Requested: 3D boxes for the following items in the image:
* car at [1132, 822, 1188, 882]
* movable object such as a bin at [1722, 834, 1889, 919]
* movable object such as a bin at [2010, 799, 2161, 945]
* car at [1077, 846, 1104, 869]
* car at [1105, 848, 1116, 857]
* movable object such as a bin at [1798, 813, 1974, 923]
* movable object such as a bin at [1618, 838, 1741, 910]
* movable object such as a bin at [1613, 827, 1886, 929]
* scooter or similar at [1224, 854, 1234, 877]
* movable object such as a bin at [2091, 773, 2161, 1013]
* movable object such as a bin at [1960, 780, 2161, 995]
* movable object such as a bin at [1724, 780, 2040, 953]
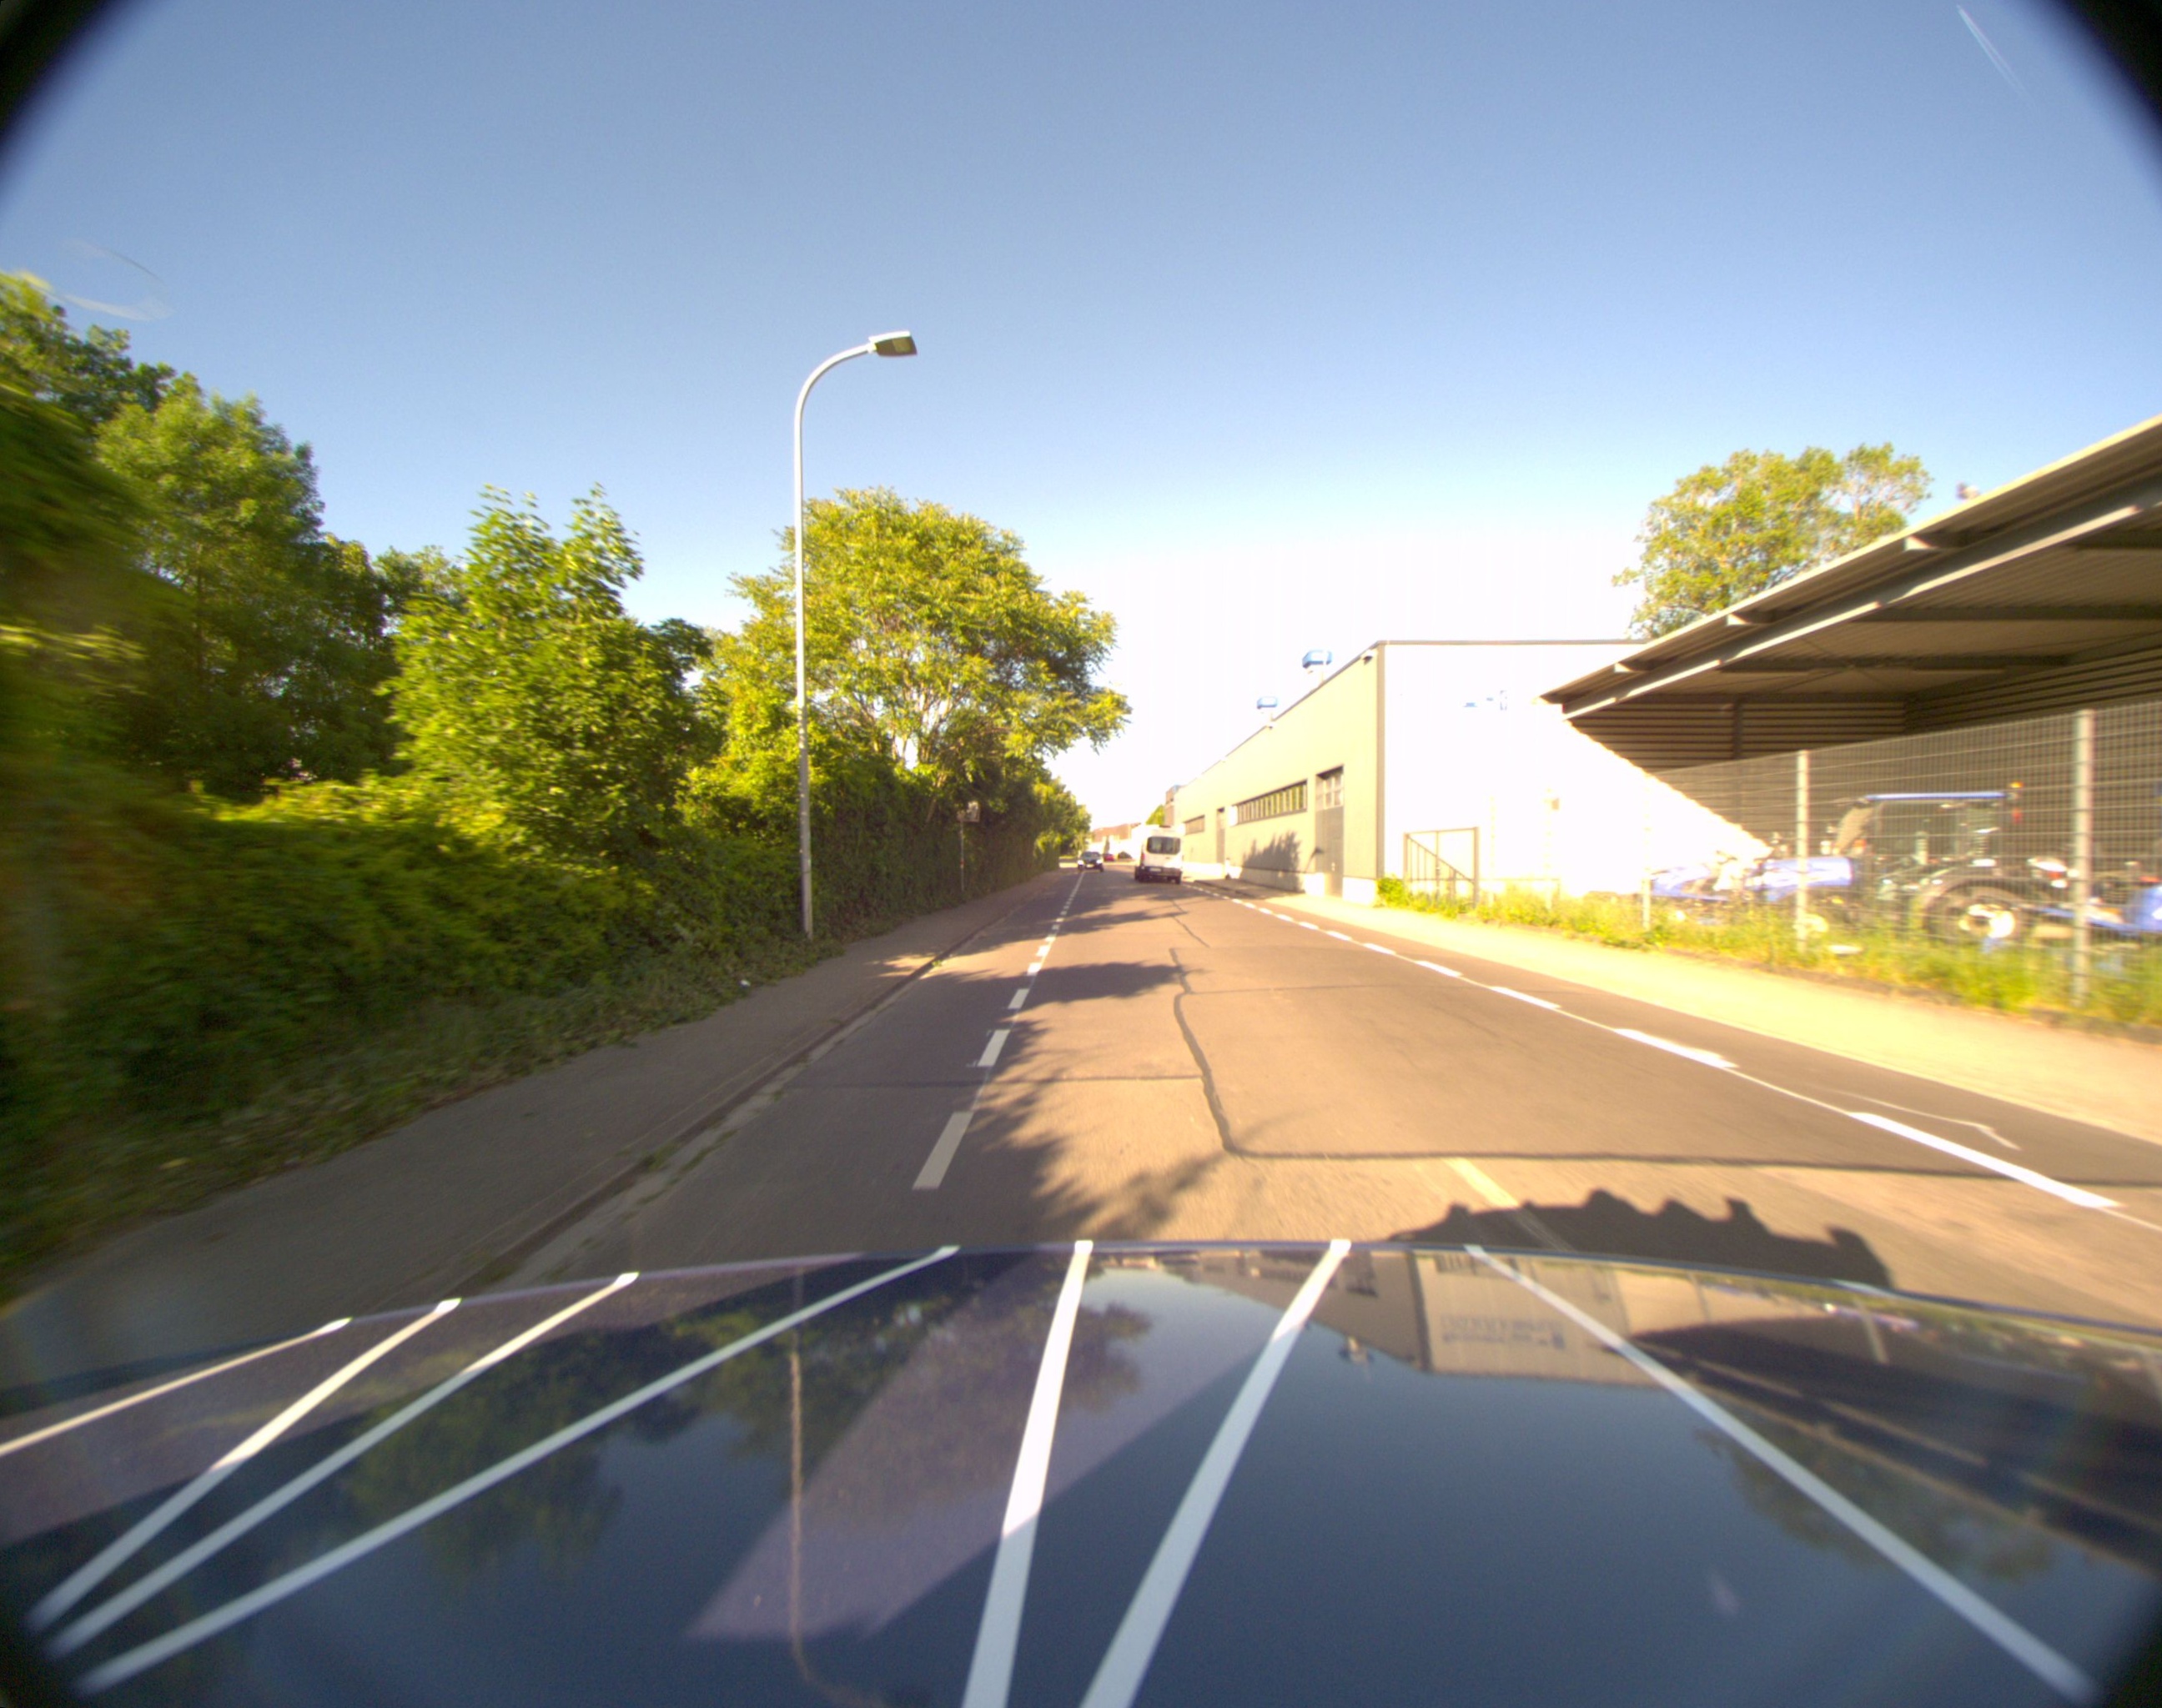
[{"bbox_3d":[3.907,-0.166,38.469,2.128,2.765,5.925,2,2,0],"label":"car"},{"bbox_3d":[14.487,0.416,15.305,1.473,1.601,1.956,0,1,-1],"label":"movable object such as a bin"},{"bbox_3d":[16.183,0.258,11.417,1.580,2.080,2.311,0,1,-1],"label":"movable object such as a bin"},{"bbox_3d":[0.792,0.247,59.598,2.036,1.624,4.612,0,2,2],"label":"car"},{"bbox_3d":[5.104,-0.267,133.006,1.724,1.531,4.076,2,0,1],"label":"car"},{"bbox_3d":[16.162,0.260,15.355,1.580,2.080,1.847,0,1,-1],"label":"movable object such as a bin"},{"bbox_3d":[12.201,0.388,15.553,1.473,1.394,1.325,0,1,-1],"label":"movable object such as a bin"},{"bbox_3d":[11.628,0.364,13.534,3.395,1.603,1.629,0,1,31],"label":"movable object such as a bin"},{"bbox_3d":[8.192,0.634,42.078,0.417,1.260,1.059,0,1,1],"label":"scooter or similar"},{"bbox_3d":[10.986,0.349,6.219,2.882,2.136,1.502,0,1,28],"label":"movable object such as a bin"},{"bbox_3d":[11.453,0.323,7.826,2.793,2.114,1.387,0,1,26],"label":"movable object such as a bin"},{"bbox_3d":[11.114,0.146,10.818,2.765,2.152,1.526,0,1,31],"label":"movable object such as a bin"}]
